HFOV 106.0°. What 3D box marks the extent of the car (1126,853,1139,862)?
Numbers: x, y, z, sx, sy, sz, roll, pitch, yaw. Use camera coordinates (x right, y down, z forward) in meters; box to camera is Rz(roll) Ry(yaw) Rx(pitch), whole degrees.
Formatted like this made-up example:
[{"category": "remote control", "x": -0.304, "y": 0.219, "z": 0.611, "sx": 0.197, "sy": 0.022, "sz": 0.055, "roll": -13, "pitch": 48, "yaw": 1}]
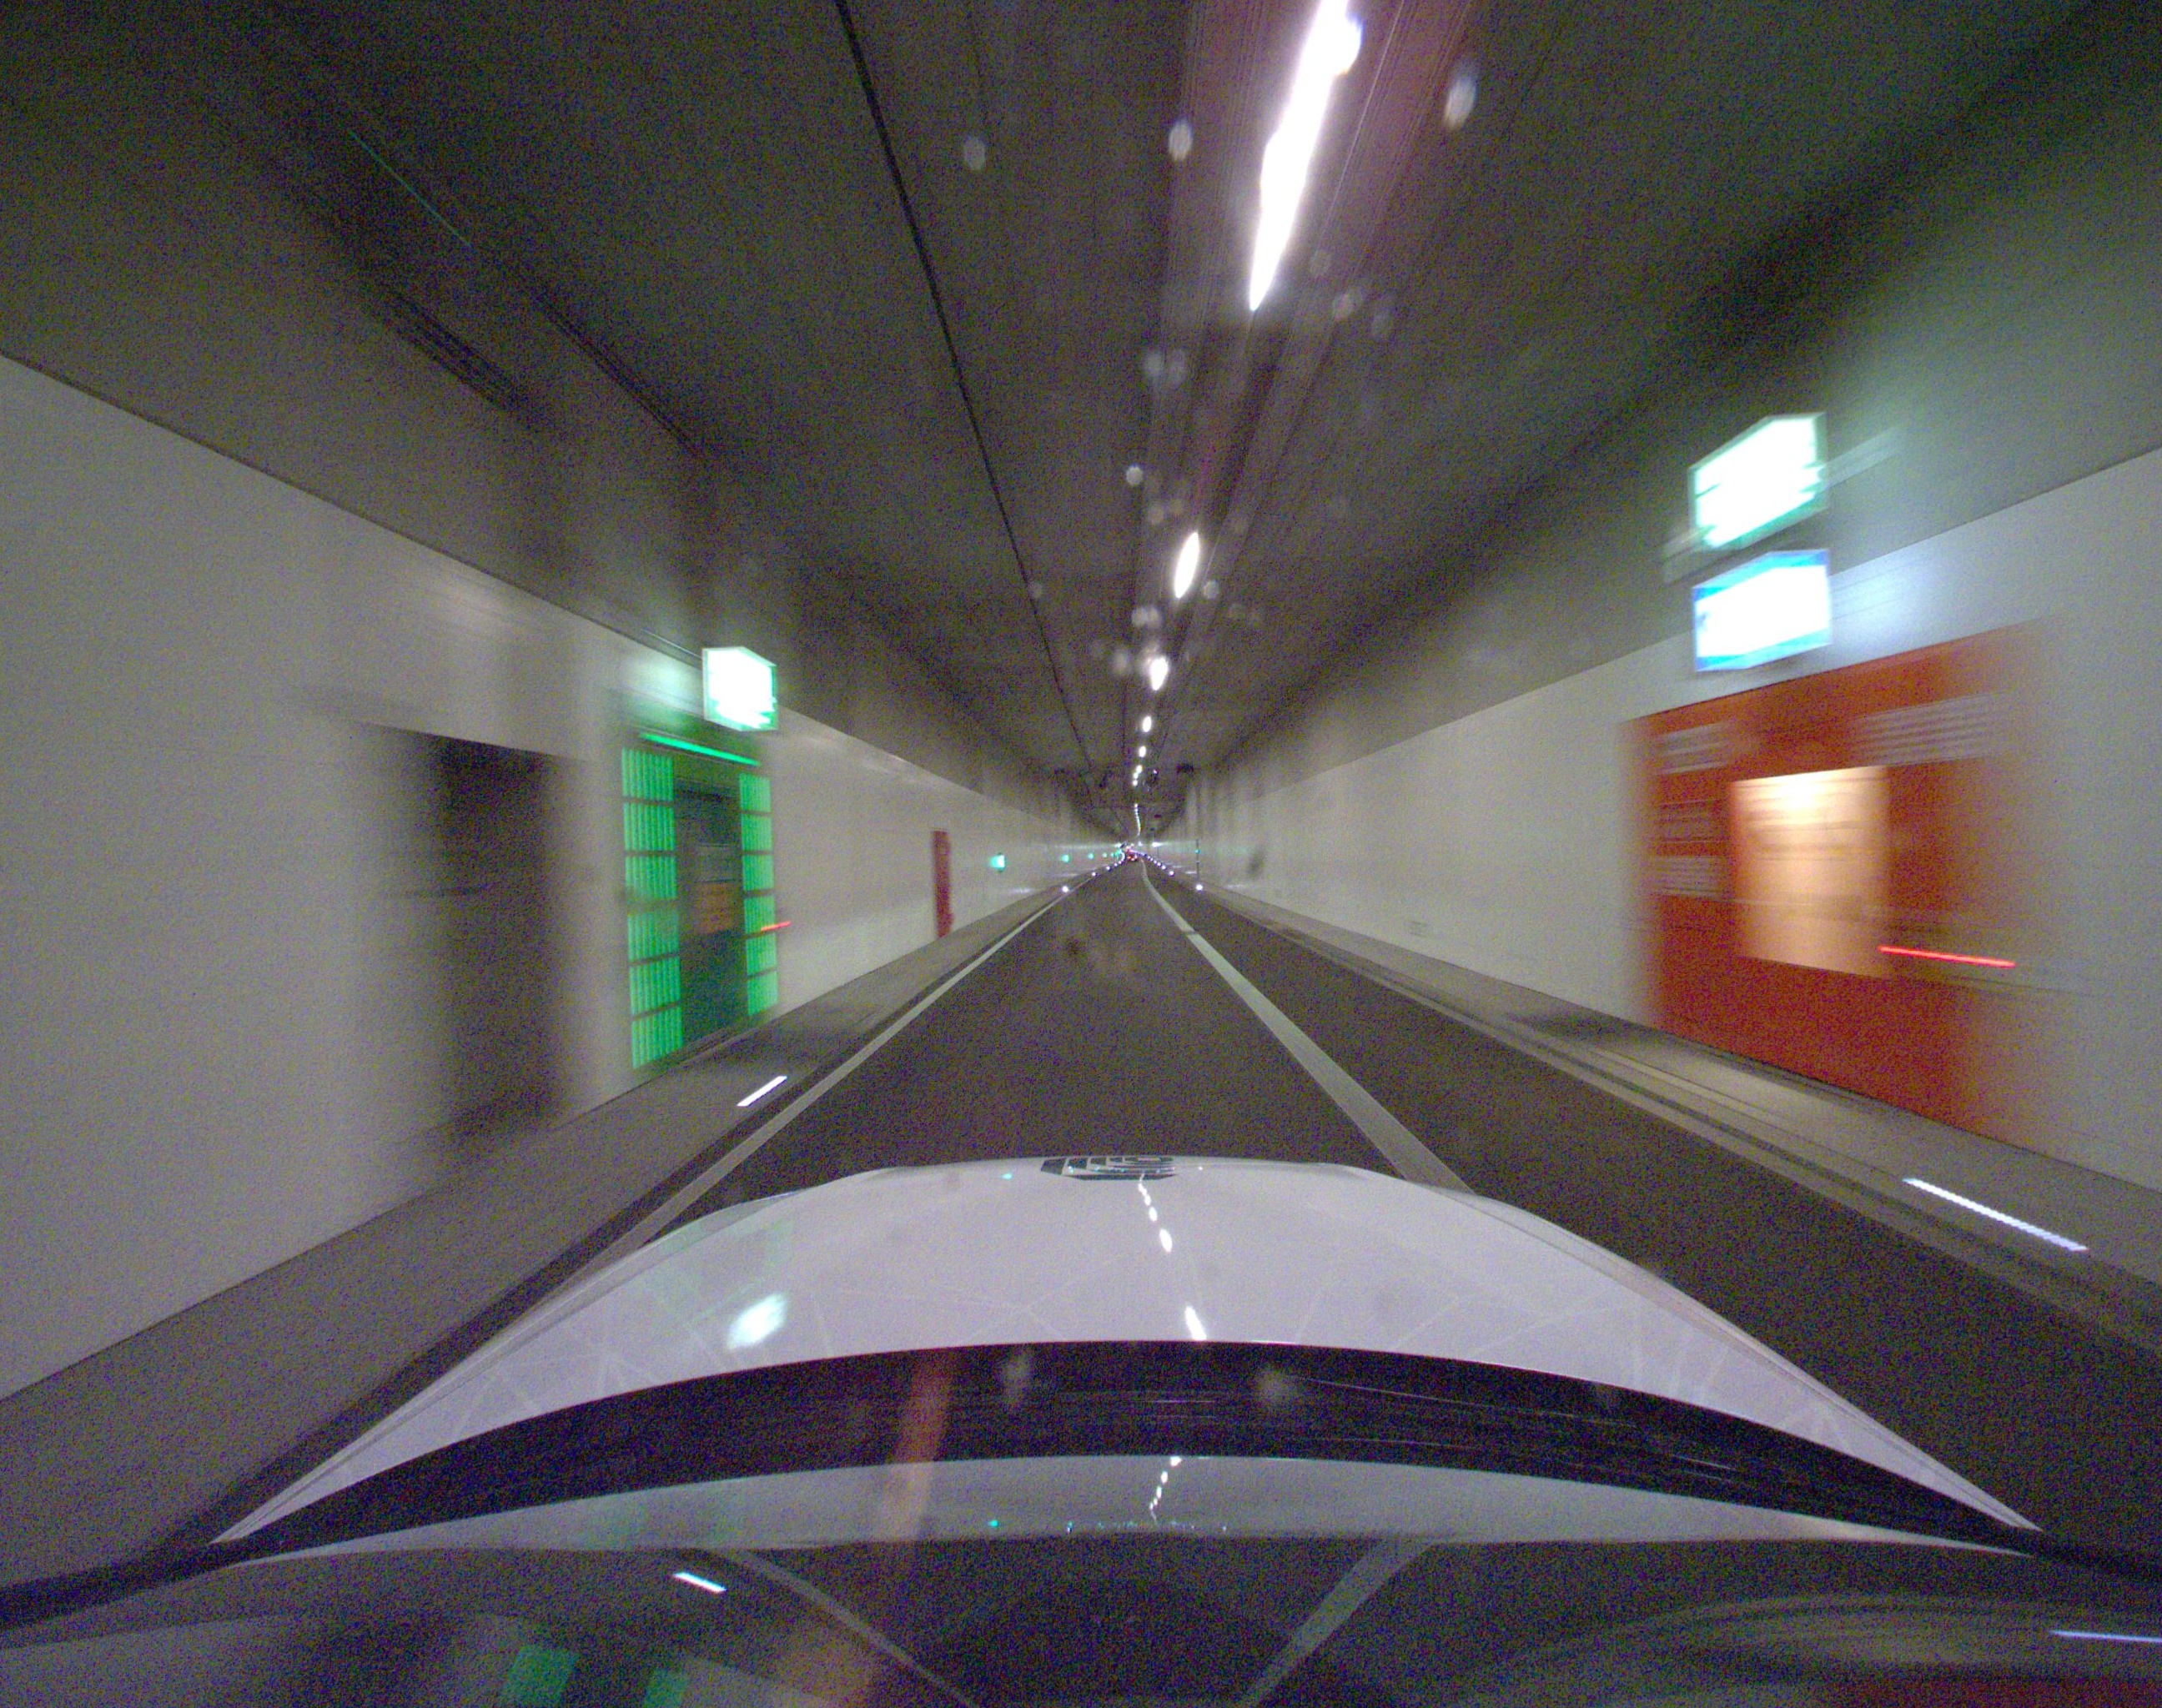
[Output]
[{"category": "car", "x": 8.346, "y": 0.610, "z": 132.365, "sx": 1.986, "sy": 1.420, "sz": 4.002, "roll": -1, "pitch": 0, "yaw": 2}]
